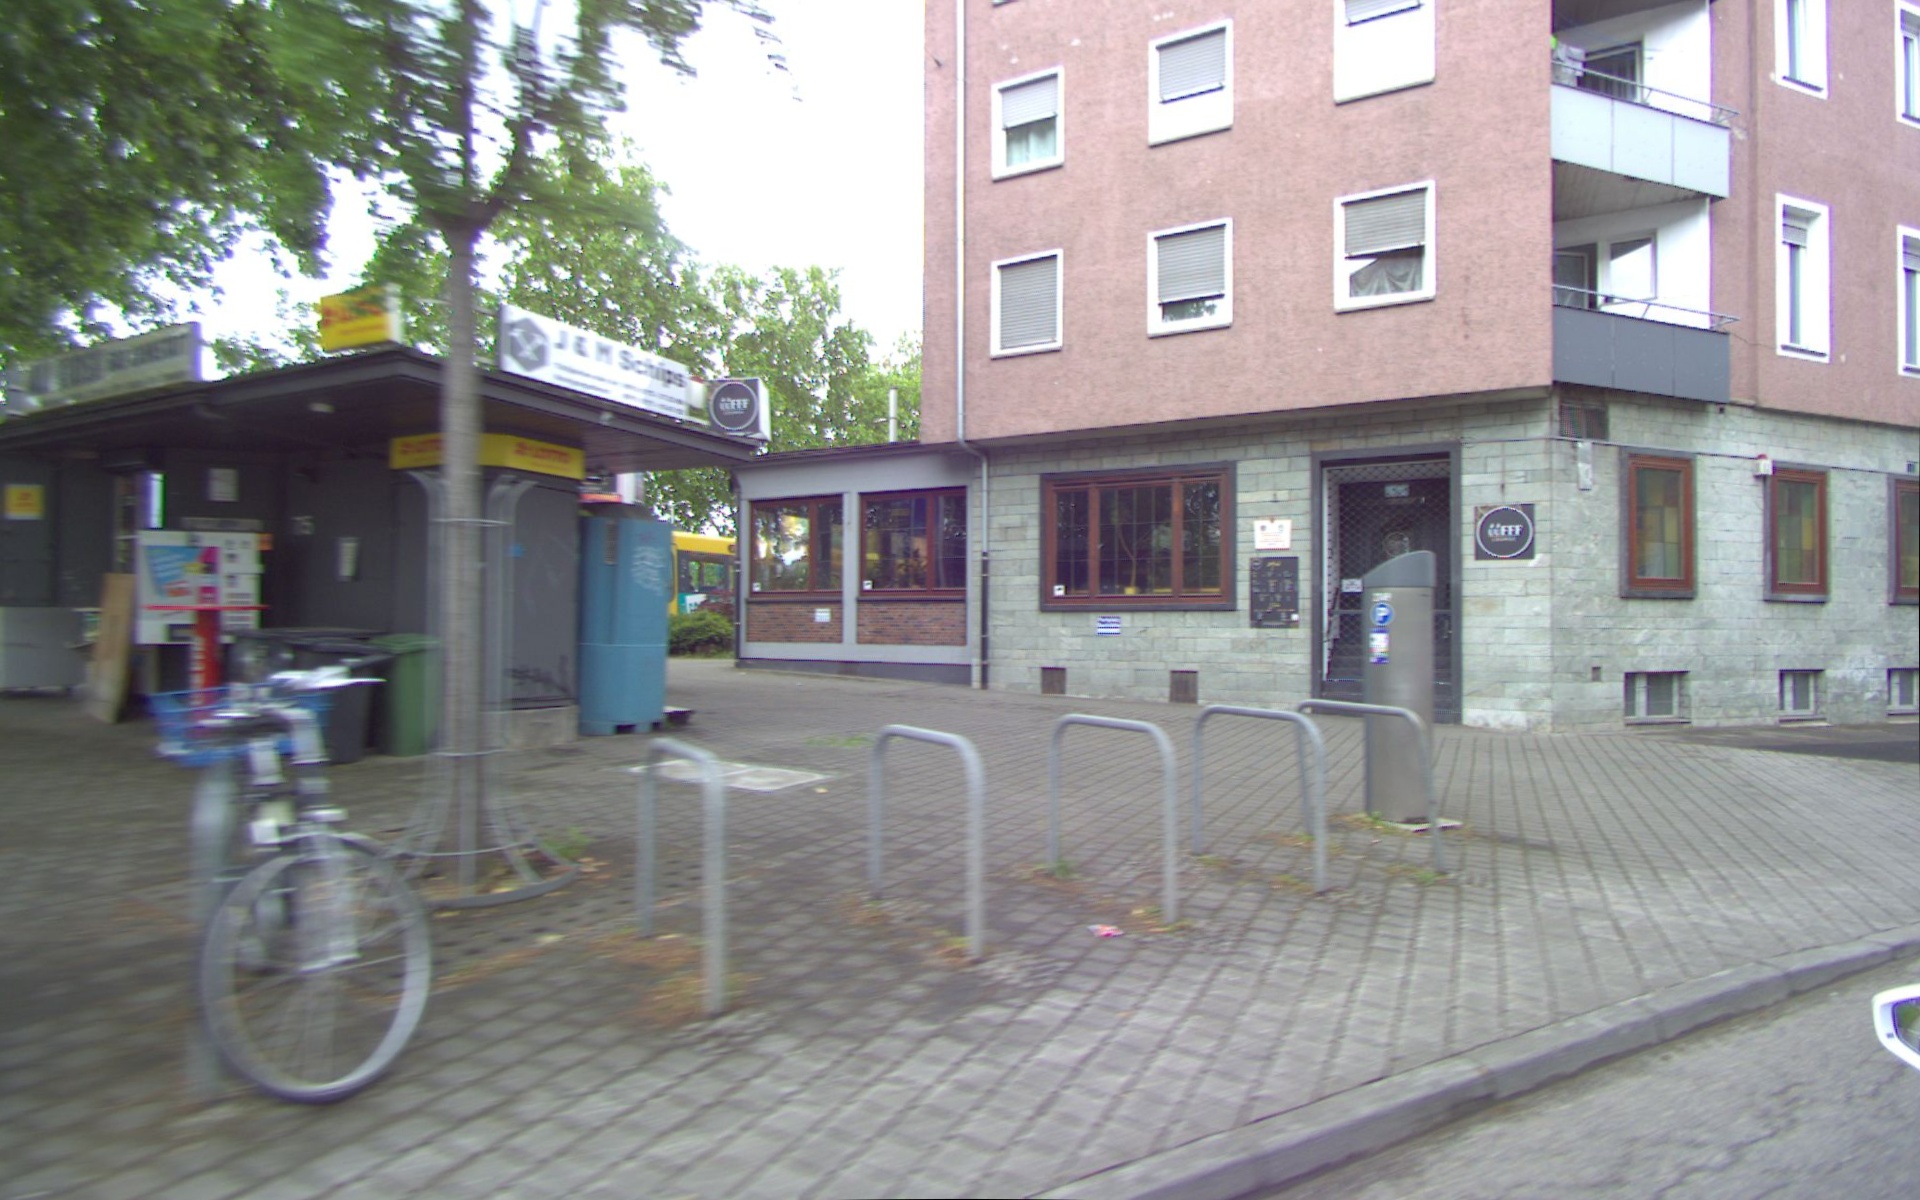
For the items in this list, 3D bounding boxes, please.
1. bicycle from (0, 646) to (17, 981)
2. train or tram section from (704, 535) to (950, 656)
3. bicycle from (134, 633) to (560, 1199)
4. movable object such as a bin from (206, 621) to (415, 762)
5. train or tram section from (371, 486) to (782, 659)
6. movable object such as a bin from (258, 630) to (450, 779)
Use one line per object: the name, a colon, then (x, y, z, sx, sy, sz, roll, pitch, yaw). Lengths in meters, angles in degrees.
bicycle: (-3.148, 0.734, 2.485, 0.570, 1.128, 1.865, 2, 1, -23)
train or tram section: (-4.380, 0.053, 36.827, 2.871, 3.720, 10.992, 4, -1, 28)
bicycle: (-1.978, 0.742, 3.104, 0.720, 1.192, 1.783, 1, 1, -44)
movable object such as a bin: (-5.354, 0.713, 8.325, 0.950, 0.977, 1.111, 4, 2, 26)
train or tram section: (-9.508, -0.425, 27.145, 2.871, 3.720, 10.992, 4, -1, 28)
movable object such as a bin: (-4.657, 0.761, 7.771, 0.660, 0.977, 1.078, 4, 2, 26)
